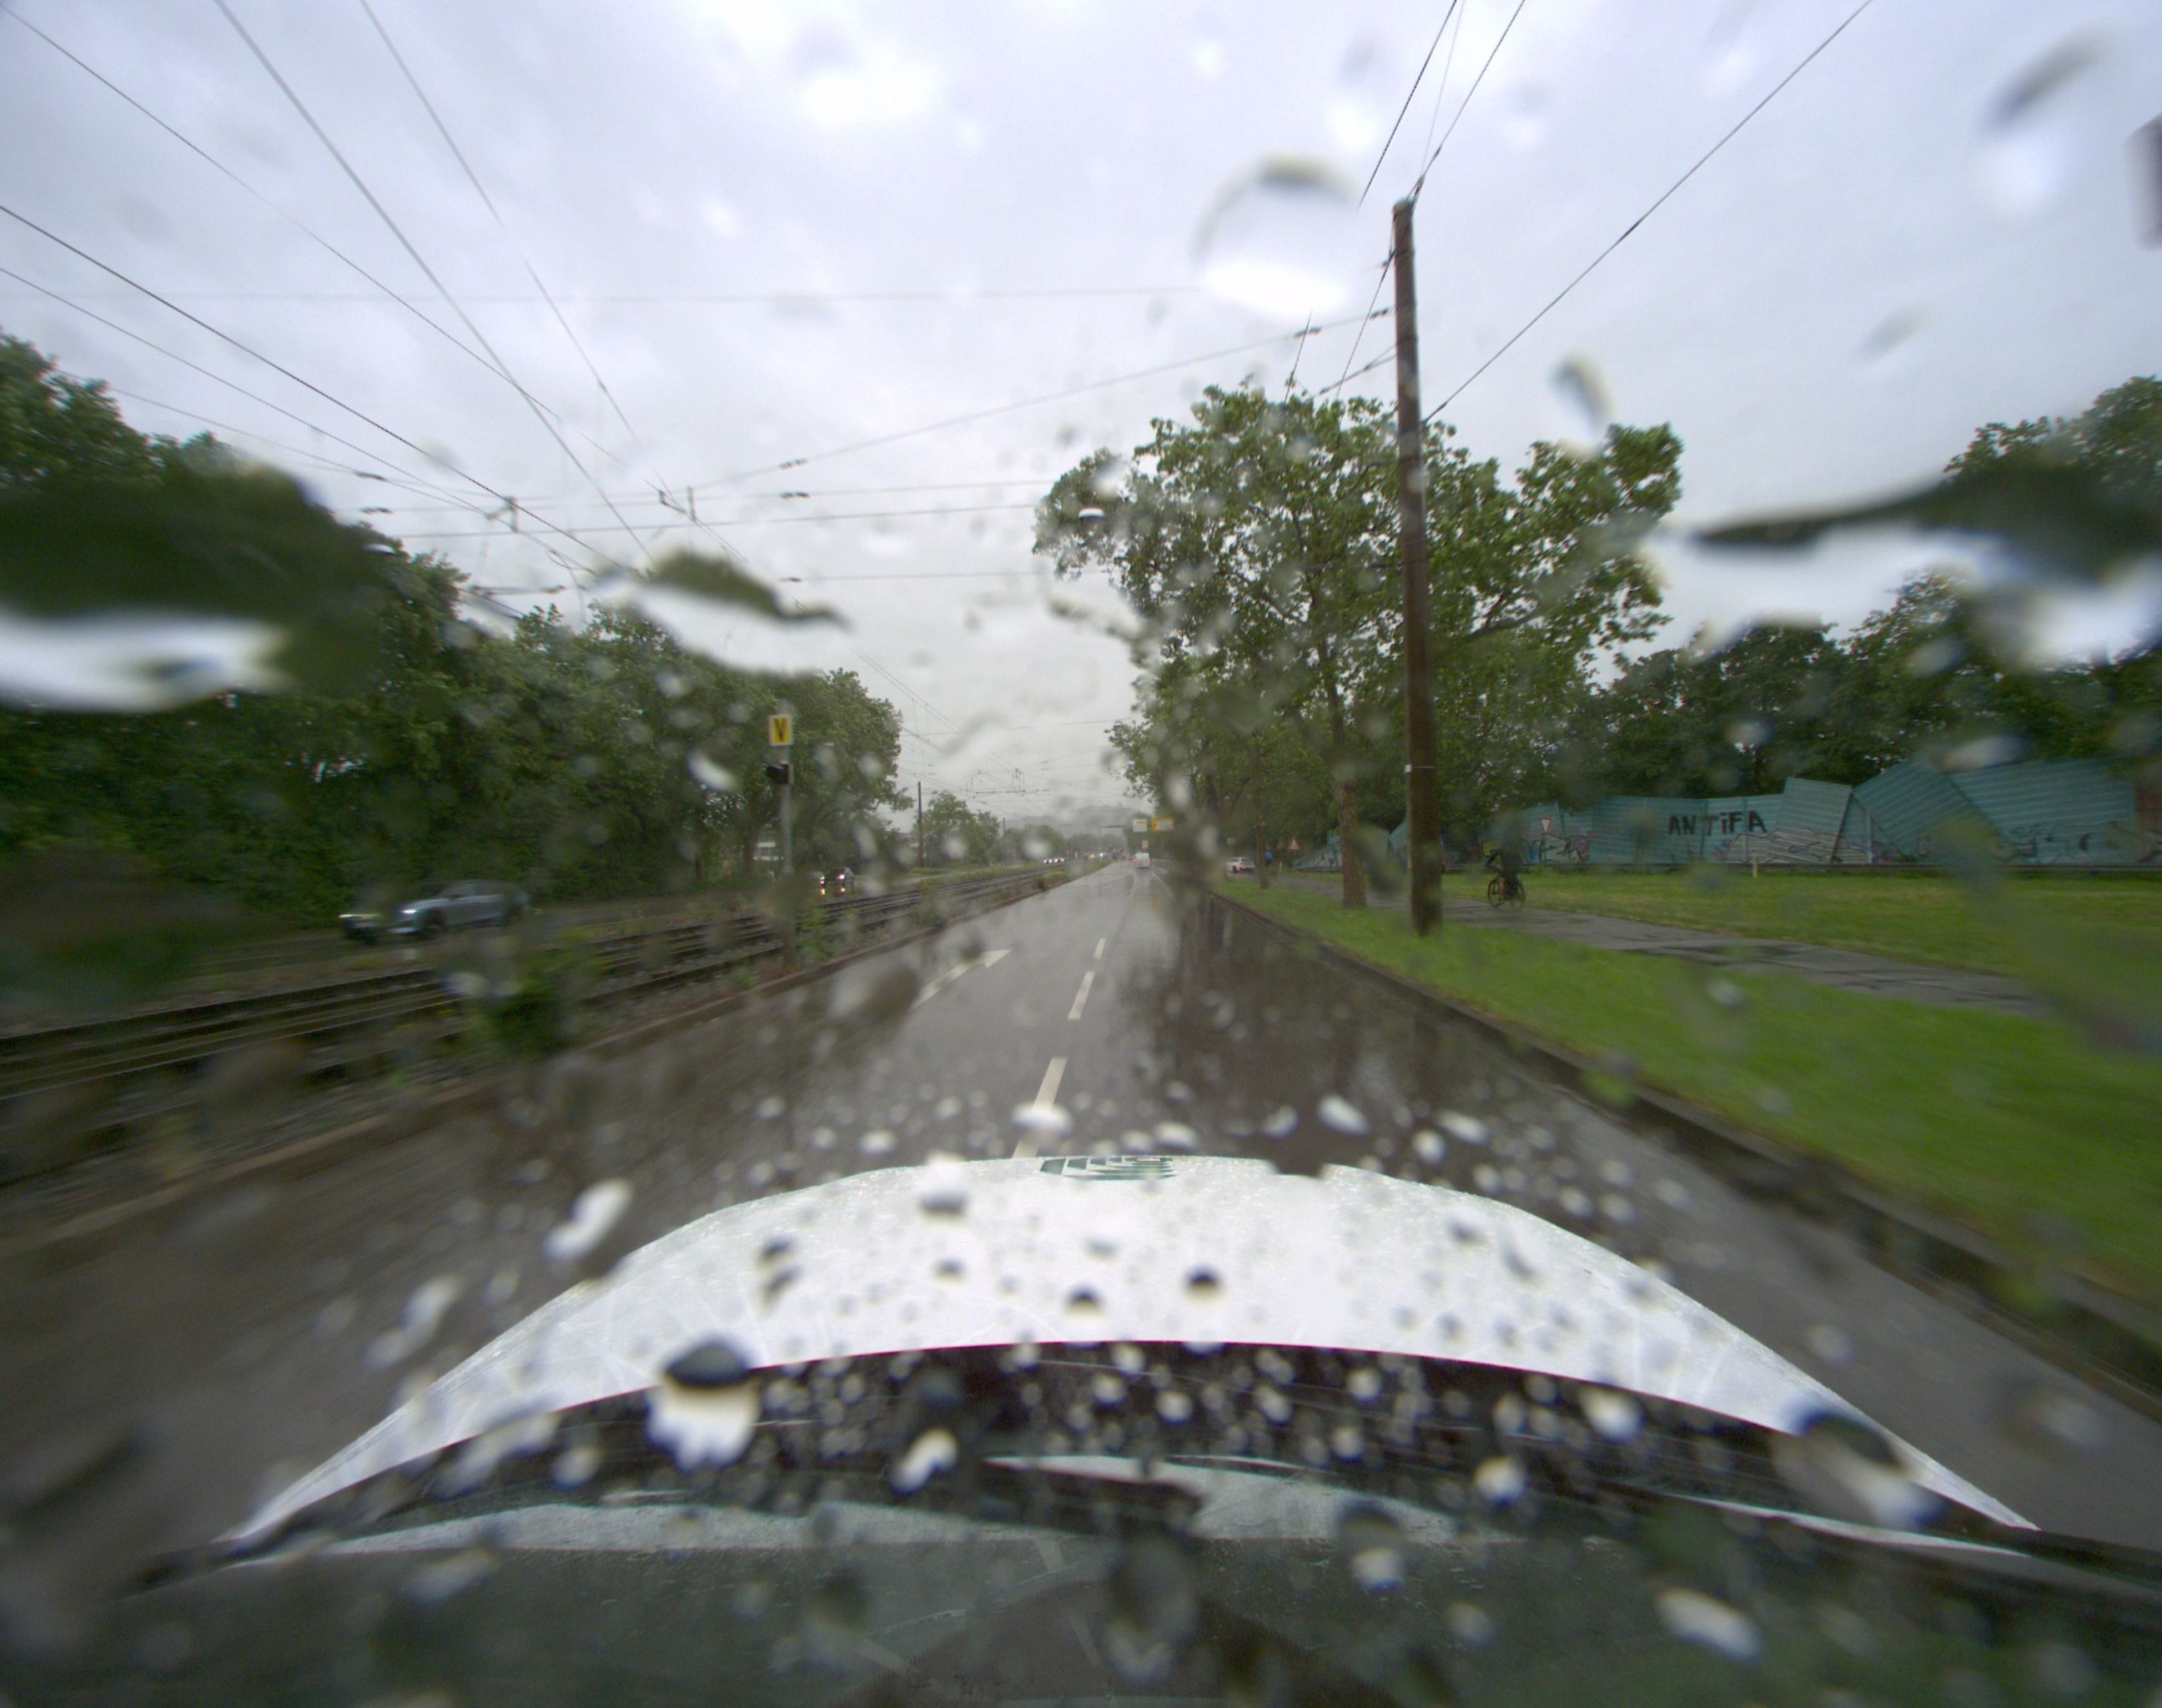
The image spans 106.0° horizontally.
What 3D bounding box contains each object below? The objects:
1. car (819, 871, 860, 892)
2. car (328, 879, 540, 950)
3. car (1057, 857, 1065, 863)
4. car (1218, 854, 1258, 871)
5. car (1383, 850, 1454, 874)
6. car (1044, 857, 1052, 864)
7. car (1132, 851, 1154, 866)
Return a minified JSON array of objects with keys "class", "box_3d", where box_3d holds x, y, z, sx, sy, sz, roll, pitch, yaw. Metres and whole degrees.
[{"class":"car","box_3d":[-17.930,2.044,60.612,1.676,1.406,3.941,-1,-1,2]},{"class":"car","box_3d":[-17.342,1.555,22.235,1.684,1.523,4.958,-1,0,2]},{"class":"car","box_3d":[-5.286,1.548,211.278,1.937,1.616,4.987,-2,0,0]},{"class":"car","box_3d":[14.832,0.837,77.117,1.951,1.536,4.444,-1,0,-14]},{"class":"car","box_3d":[23.001,0.562,55.634,1.871,1.536,4.482,-1,0,-23]},{"class":"car","box_3d":[-8.524,1.651,210.777,1.937,1.686,4.780,-2,0,0]},{"class":"car","box_3d":[6.190,0.453,81.688,2.069,1.420,4.003,-3,0,3]}]
